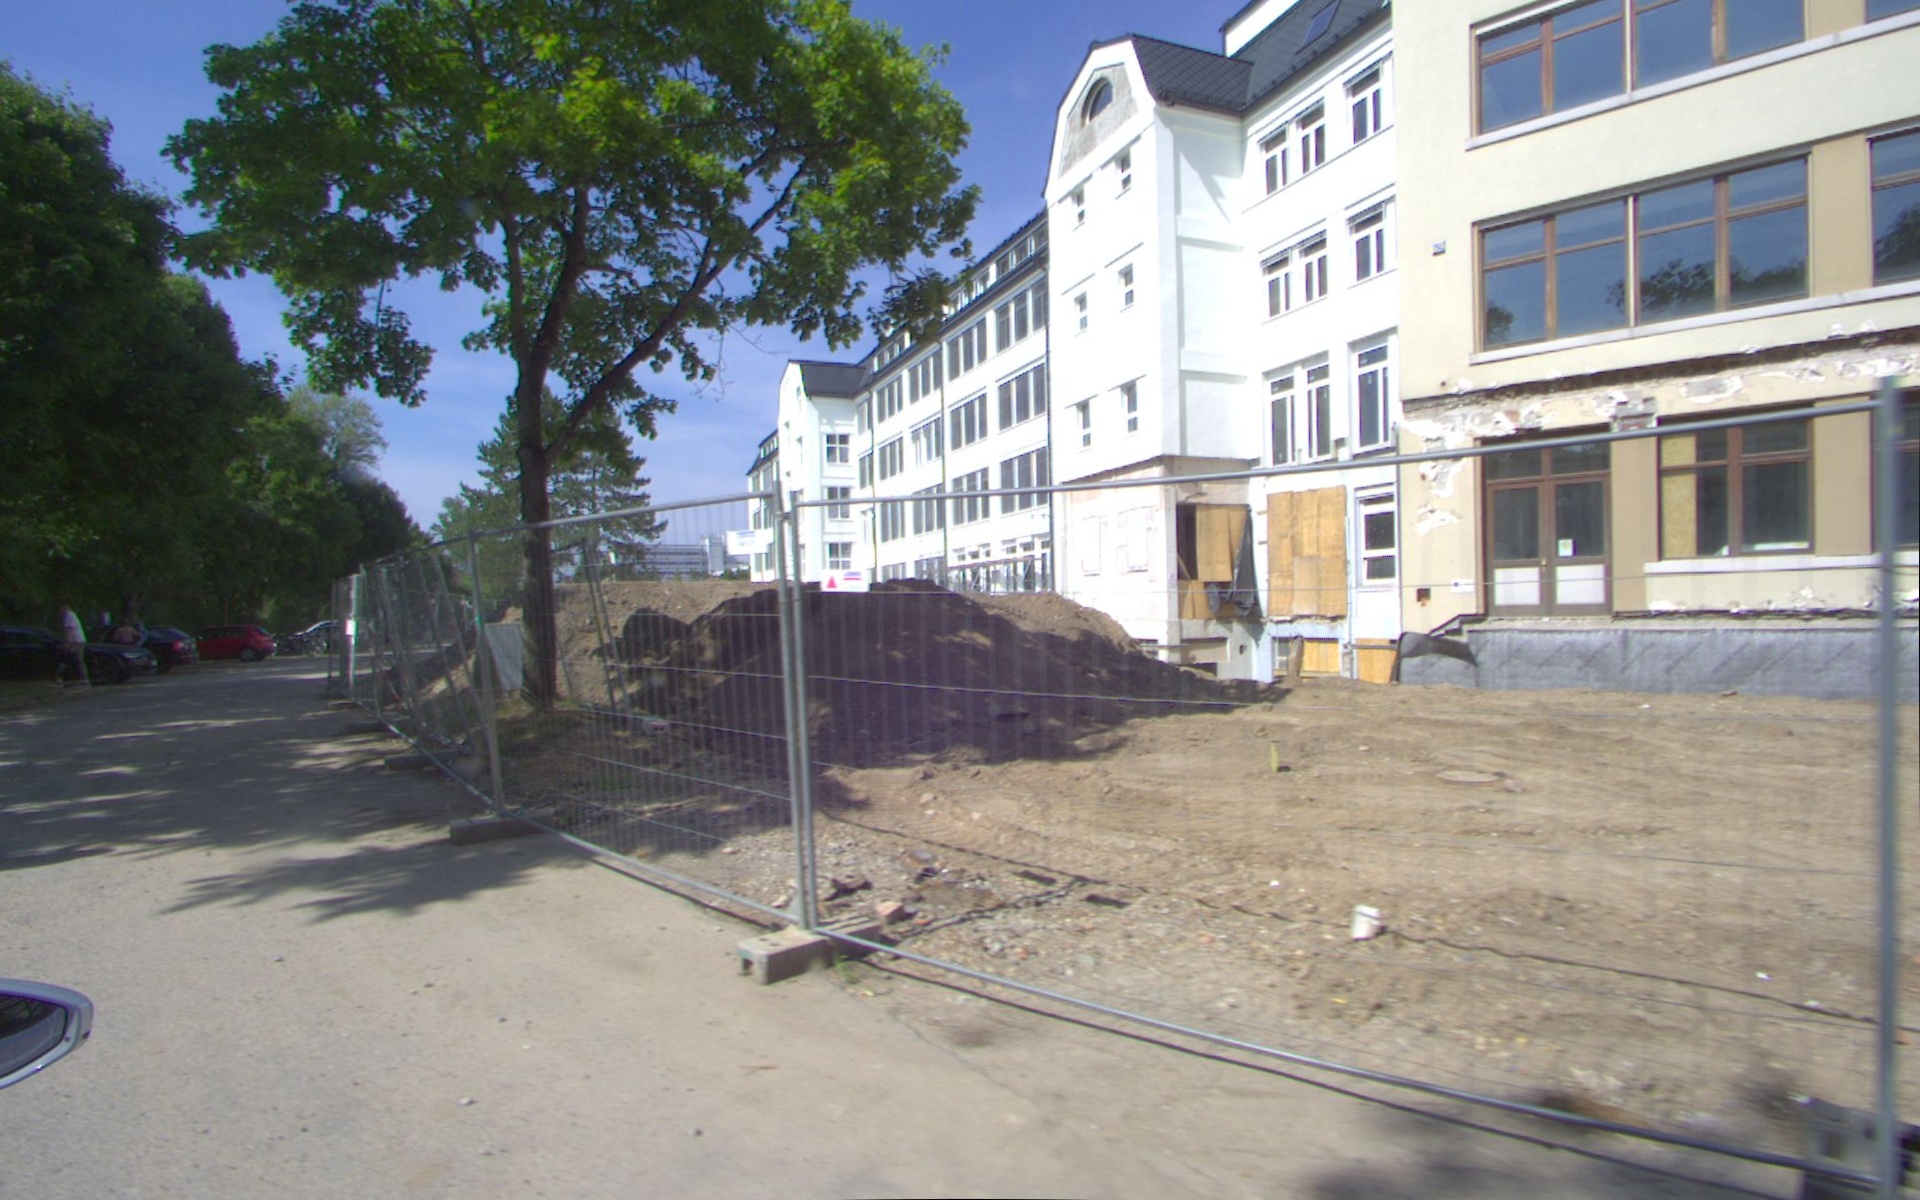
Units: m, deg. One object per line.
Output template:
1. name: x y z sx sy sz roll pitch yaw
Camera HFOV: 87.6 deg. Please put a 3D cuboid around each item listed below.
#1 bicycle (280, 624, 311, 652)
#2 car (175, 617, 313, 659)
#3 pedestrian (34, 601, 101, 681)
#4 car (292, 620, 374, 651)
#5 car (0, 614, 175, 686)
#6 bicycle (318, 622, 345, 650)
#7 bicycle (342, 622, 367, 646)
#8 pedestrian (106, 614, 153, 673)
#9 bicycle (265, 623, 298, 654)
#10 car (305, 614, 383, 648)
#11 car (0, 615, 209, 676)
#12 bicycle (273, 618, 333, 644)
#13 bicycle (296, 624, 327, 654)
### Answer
1. bicycle: -32.739 1.868 49.398 0.805 1.301 2.675 -1 0 -24
2. car: -28.852 1.512 40.541 4.233 1.544 1.885 -1 0 -26
3. pedestrian: -20.558 0.930 23.087 1.003 1.805 0.815 -1 0 -33
4. car: -38.054 2.125 60.887 3.933 1.795 1.762 0 0 -21
5. car: -21.981 1.162 24.141 4.608 1.606 1.988 0 0 -33
6. bicycle: -30.734 1.741 48.988 0.705 1.301 2.628 -1 0 -24
7. bicycle: -33.790 1.881 55.895 0.805 1.301 2.737 -1 0 -24
8. pedestrian: -23.542 1.217 28.399 0.915 1.616 0.781 -1 1 -32
9. bicycle: -30.591 1.708 45.154 0.705 1.301 2.781 -1 0 -24
10. car: -39.138 1.944 63.677 3.933 2.040 1.762 0 0 -21
11. car: -24.924 1.263 29.239 4.608 1.606 1.988 0 0 -33
12. bicycle: -35.376 1.659 53.986 2.645 1.301 0.815 0 0 -30
13. bicycle: -29.027 1.731 44.869 0.705 1.301 2.675 -1 0 -24
